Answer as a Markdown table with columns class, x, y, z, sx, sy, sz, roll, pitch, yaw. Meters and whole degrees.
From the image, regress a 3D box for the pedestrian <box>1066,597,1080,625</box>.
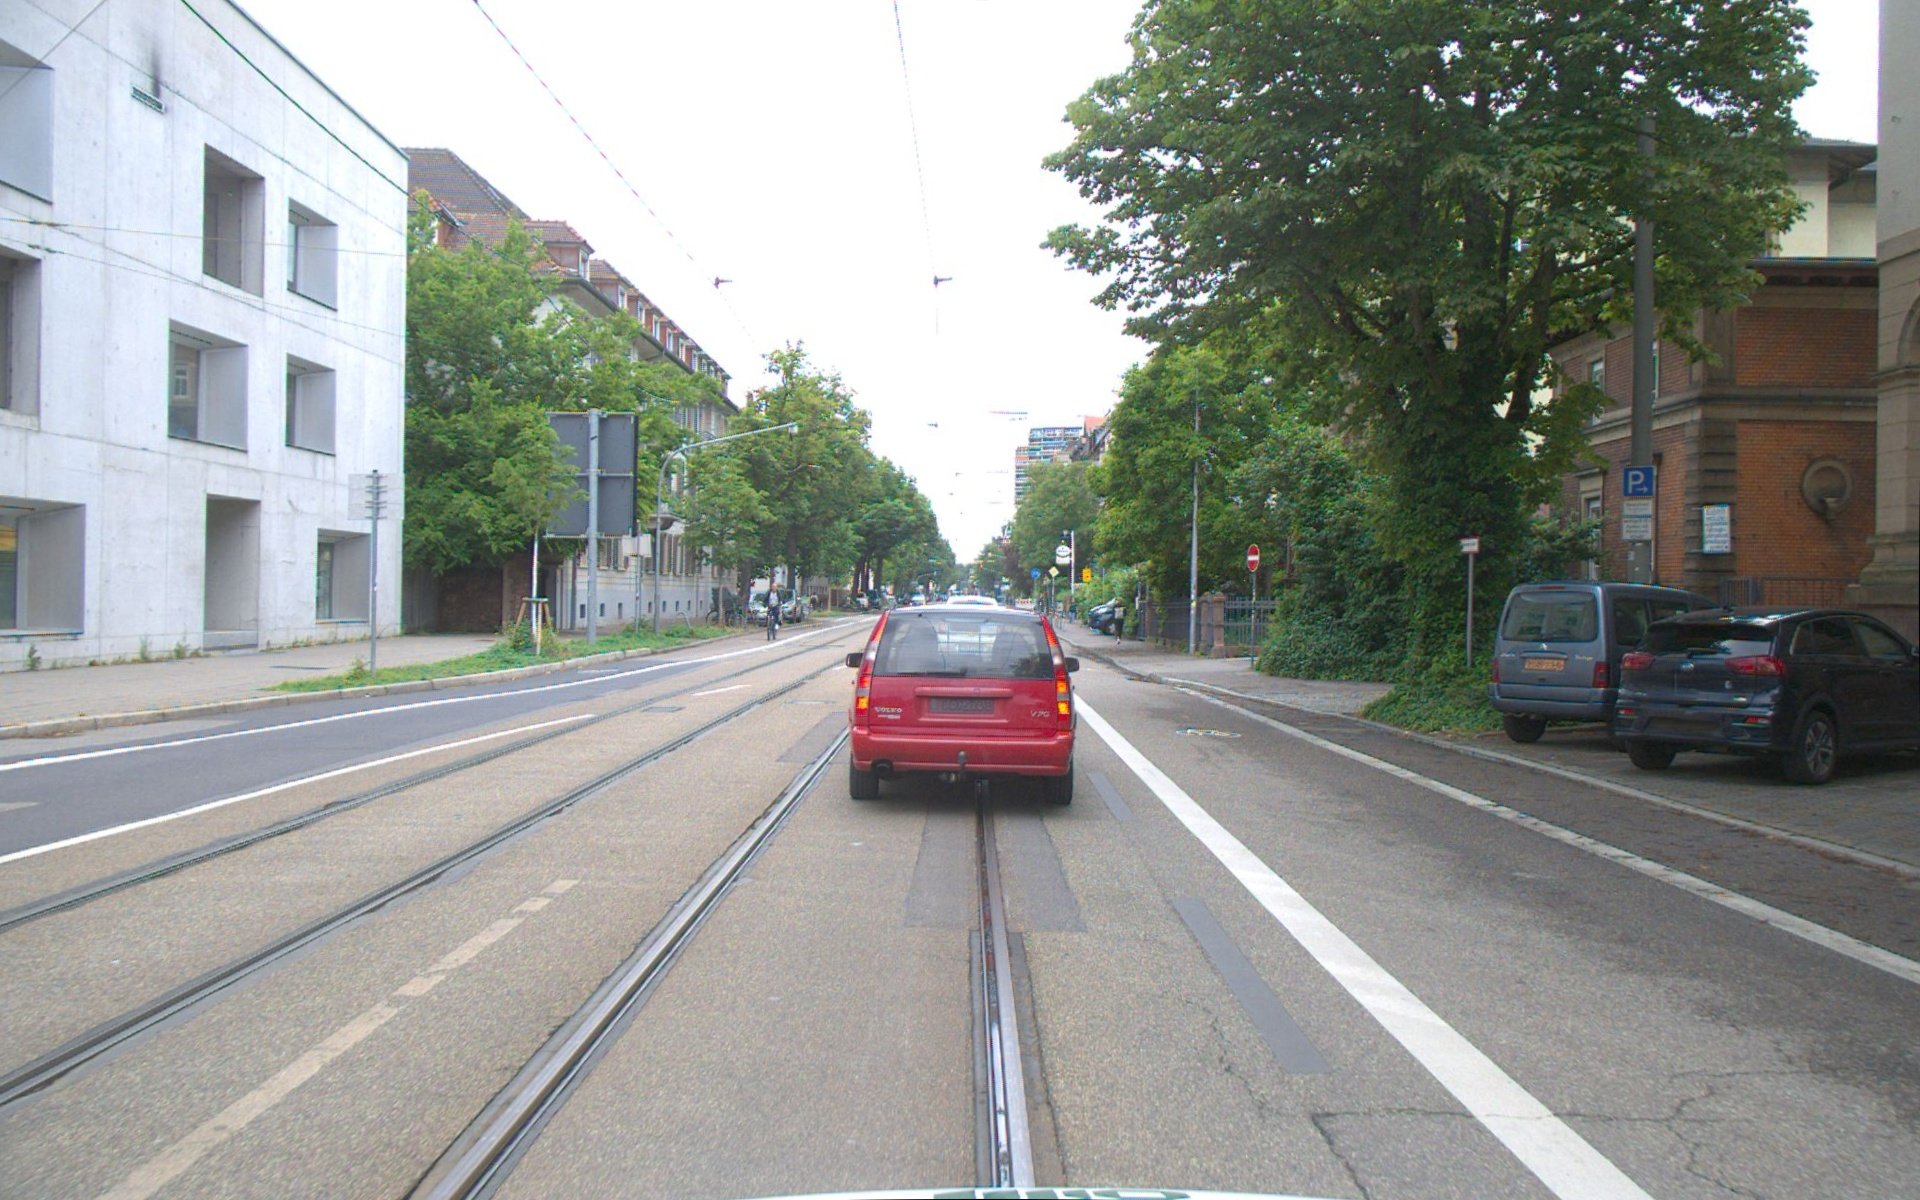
| class | x | y | z | sx | sy | sz | roll | pitch | yaw |
| --- | --- | --- | --- | --- | --- | --- | --- | --- | --- |
| pedestrian | 6.785 | 0.633 | 99.407 | 0.777 | 1.665 | 0.836 | 1 | 0 | 0 |

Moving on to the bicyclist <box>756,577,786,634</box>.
| class | x | y | z | sx | sy | sz | roll | pitch | yaw |
| --- | --- | --- | --- | --- | --- | --- | --- | --- | --- |
| bicyclist | -6.196 | 0.165 | 54.160 | 0.775 | 1.815 | 1.147 | -2 | 0 | 0 |

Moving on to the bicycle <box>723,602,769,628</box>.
| class | x | y | z | sx | sy | sz | roll | pitch | yaw |
| --- | --- | --- | --- | --- | --- | --- | --- | --- | --- |
| bicycle | -8.945 | 0.631 | 69.087 | 1.857 | 1.045 | 0.563 | 1 | 0 | -4 |

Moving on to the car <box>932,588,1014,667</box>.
| class | x | y | z | sx | sy | sz | roll | pitch | yaw |
| --- | --- | --- | --- | --- | --- | --- | --- | --- | --- |
| car | 0.341 | 0.590 | 37.021 | 1.683 | 1.653 | 3.942 | 1 | 0 | 2 |

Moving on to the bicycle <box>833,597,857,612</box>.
| class | x | y | z | sx | sy | sz | roll | pitch | yaw |
| --- | --- | --- | --- | --- | --- | --- | --- | --- | --- |
| bicycle | -9.370 | 0.347 | 135.202 | 1.883 | 1.140 | 0.624 | 2 | 0 | 0 |

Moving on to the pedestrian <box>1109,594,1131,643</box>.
| class | x | y | z | sx | sy | sz | roll | pitch | yaw |
| --- | --- | --- | --- | --- | --- | --- | --- | --- | --- |
| pedestrian | 5.658 | 0.647 | 58.392 | 0.610 | 1.700 | 0.959 | -2 | 0 | -1 |

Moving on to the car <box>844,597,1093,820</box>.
| class | x | y | z | sx | sy | sz | roll | pitch | yaw |
| --- | --- | --- | --- | --- | --- | --- | --- | --- | --- |
| car | 0.085 | 0.719 | 12.934 | 1.654 | 1.467 | 3.743 | 1 | 0 | 1 |

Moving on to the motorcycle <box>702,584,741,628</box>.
| class | x | y | z | sx | sy | sz | roll | pitch | yaw |
| --- | --- | --- | --- | --- | --- | --- | --- | --- | --- |
| motorcycle | -9.240 | 0.234 | 64.110 | 0.815 | 1.672 | 2.482 | 1 | 0 | 8 |

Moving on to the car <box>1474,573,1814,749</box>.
| class | x | y | z | sx | sy | sz | roll | pitch | yaw |
| --- | --- | --- | --- | --- | --- | --- | --- | --- | --- |
| car | 7.961 | 0.637 | 19.204 | 3.789 | 1.852 | 1.788 | 0 | 0 | -31 |

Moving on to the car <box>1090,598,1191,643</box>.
| class | x | y | z | sx | sy | sz | roll | pitch | yaw |
| --- | --- | --- | --- | --- | --- | --- | --- | --- | --- |
| car | 7.775 | 0.870 | 71.518 | 4.191 | 1.841 | 1.824 | -1 | 0 | 2 |

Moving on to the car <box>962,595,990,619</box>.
| class | x | y | z | sx | sy | sz | roll | pitch | yaw |
| --- | --- | --- | --- | --- | --- | --- | --- | --- | --- |
| car | 1.102 | 0.498 | 114.873 | 1.706 | 1.634 | 3.998 | 1 | 0 | -2 |

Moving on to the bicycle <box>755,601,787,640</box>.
| class | x | y | z | sx | sy | sz | roll | pitch | yaw |
| --- | --- | --- | --- | --- | --- | --- | --- | --- | --- |
| bicycle | -6.189 | 0.664 | 54.190 | 0.775 | 1.207 | 2.010 | -2 | 0 | 0 |

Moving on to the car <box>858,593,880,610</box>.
| class | x | y | z | sx | sy | sz | roll | pitch | yaw |
| --- | --- | --- | --- | --- | --- | --- | --- | --- | --- |
| car | -8.667 | 0.107 | 158.311 | 1.740 | 1.537 | 4.238 | 1 | 0 | 1 |

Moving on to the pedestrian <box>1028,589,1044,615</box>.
| class | x | y | z | sx | sy | sz | roll | pitch | yaw |
| --- | --- | --- | --- | --- | --- | --- | --- | --- | --- |
| pedestrian | 4.911 | 0.108 | 106.987 | 0.854 | 1.685 | 0.909 | 1 | 0 | 12 |

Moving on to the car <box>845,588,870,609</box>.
| class | x | y | z | sx | sy | sz | roll | pitch | yaw |
| --- | --- | --- | --- | --- | --- | --- | --- | --- | --- |
| car | -8.610 | -0.115 | 139.473 | 1.858 | 1.684 | 4.224 | 1 | 0 | -1 |

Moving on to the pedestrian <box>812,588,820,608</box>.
| class | x | y | z | sx | sy | sz | roll | pitch | yaw |
| --- | --- | --- | --- | --- | --- | --- | --- | --- | --- |
| pedestrian | -11.058 | -0.140 | 126.965 | 0.553 | 1.493 | 0.723 | 0 | 0 | 0 |

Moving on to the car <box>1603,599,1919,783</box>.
| class | x | y | z | sx | sy | sz | roll | pitch | yaw |
| --- | --- | --- | --- | --- | --- | --- | --- | --- | --- |
| car | 8.275 | 0.784 | 16.209 | 3.954 | 1.566 | 1.842 | 0 | 1 | -35 |

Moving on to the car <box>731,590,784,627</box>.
| class | x | y | z | sx | sy | sz | roll | pitch | yaw |
| --- | --- | --- | --- | --- | --- | --- | --- | --- | --- |
| car | -8.816 | 0.354 | 72.390 | 1.775 | 1.491 | 4.613 | 1 | 0 | -1 |
